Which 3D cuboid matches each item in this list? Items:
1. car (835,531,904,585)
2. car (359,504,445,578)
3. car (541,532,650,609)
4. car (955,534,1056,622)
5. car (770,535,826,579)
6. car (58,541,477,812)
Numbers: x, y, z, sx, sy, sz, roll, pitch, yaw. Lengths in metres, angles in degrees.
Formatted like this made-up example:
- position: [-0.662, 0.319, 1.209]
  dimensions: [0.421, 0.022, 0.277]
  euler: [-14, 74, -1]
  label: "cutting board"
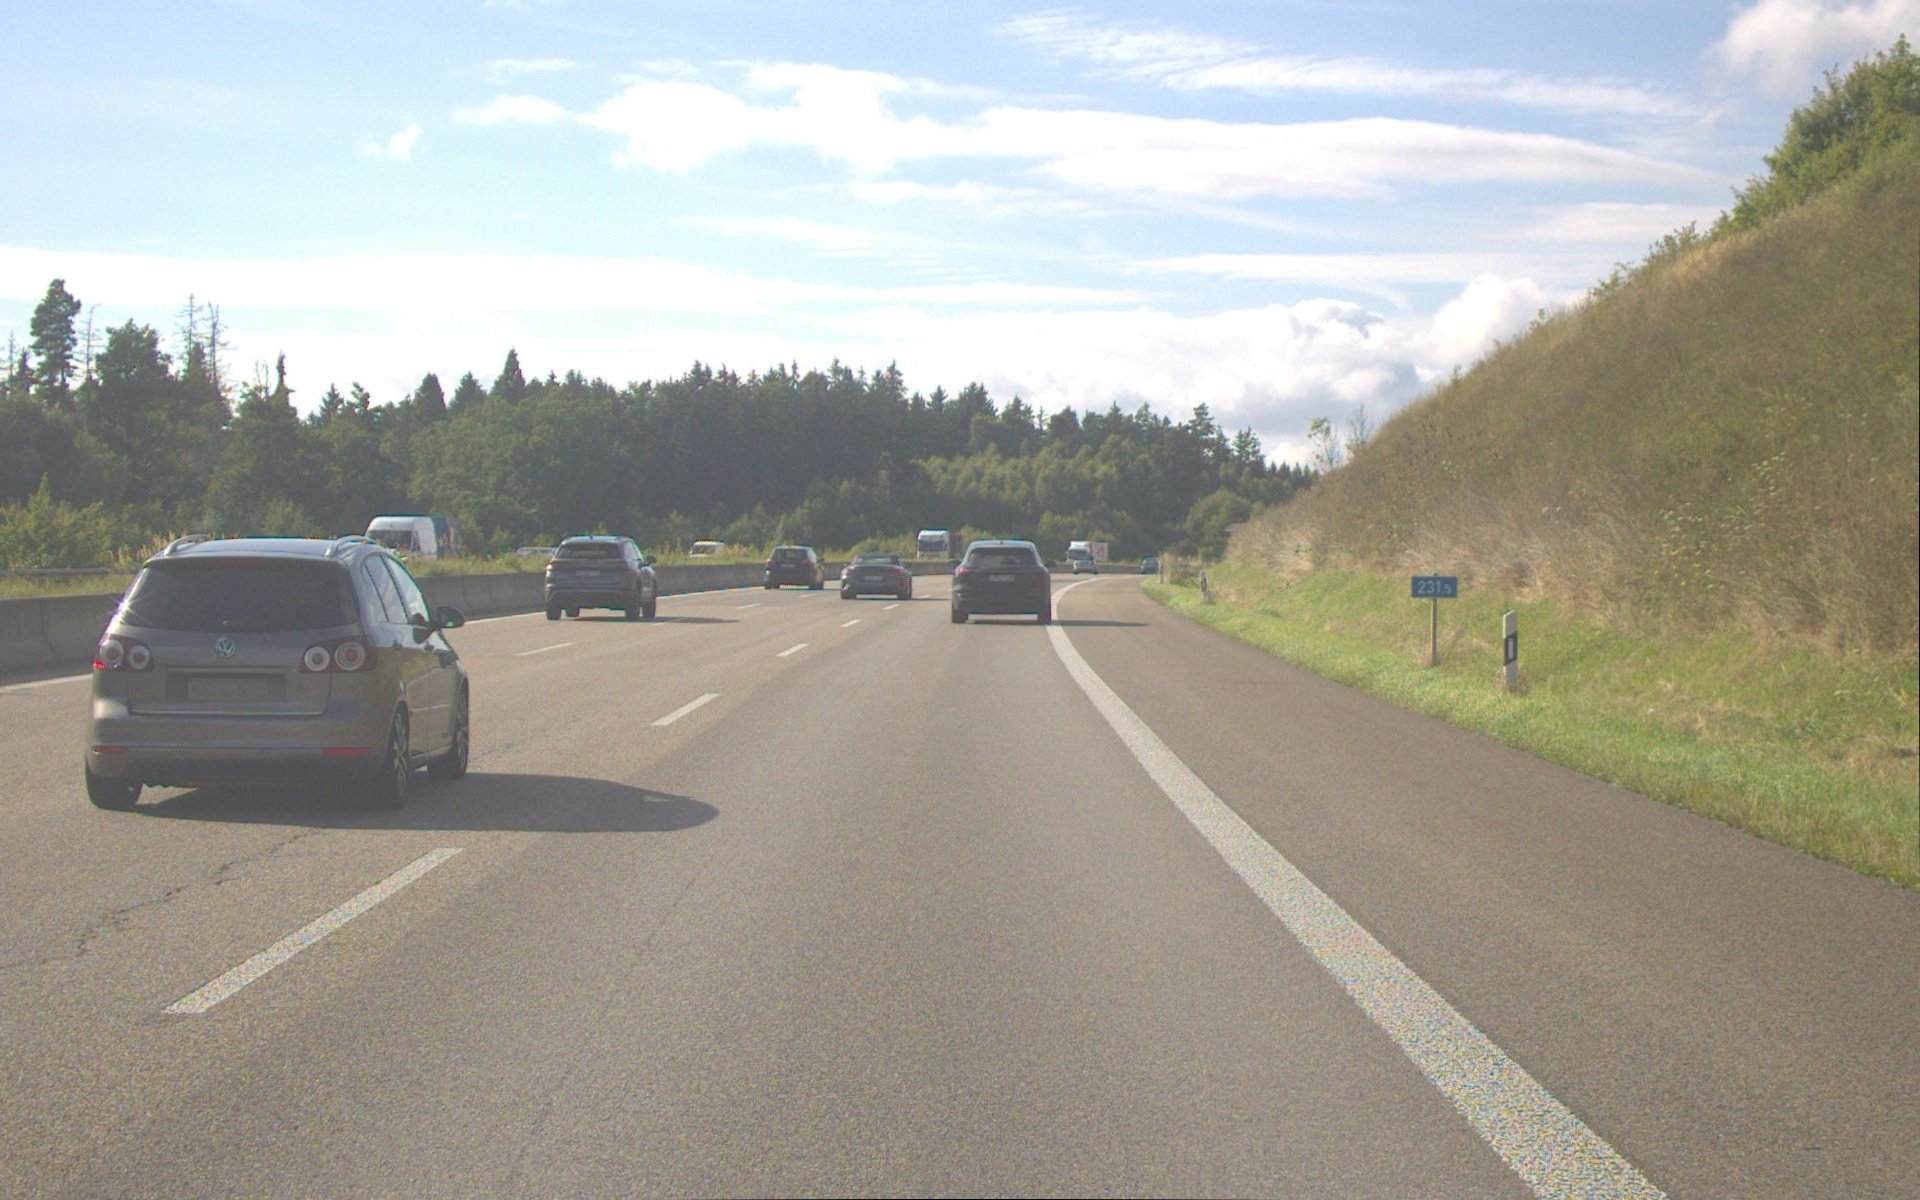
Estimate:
- position: [-2.536, -1.200, 97.141]
  dimensions: [1.873, 1.492, 3.880]
  euler: [0, 1, 0]
  label: "car"
- position: [-20.916, -2.225, 129.005]
  dimensions: [2.269, 2.674, 5.889]
  euler: [0, 1, 0]
  label: "car"
- position: [-7.259, -0.599, 68.824]
  dimensions: [1.873, 1.492, 3.880]
  euler: [0, 1, -2]
  label: "car"
- position: [0.871, -0.452, 67.694]
  dimensions: [1.873, 1.669, 3.890]
  euler: [0, 1, -1]
  label: "car"
- position: [-5.563, -1.483, 118.541]
  dimensions: [1.873, 1.492, 3.880]
  euler: [0, 1, -2]
  label: "car"
- position: [-4.097, 0.393, 20.922]
  dimensions: [1.873, 1.492, 3.880]
  euler: [0, 1, -2]
  label: "car"
